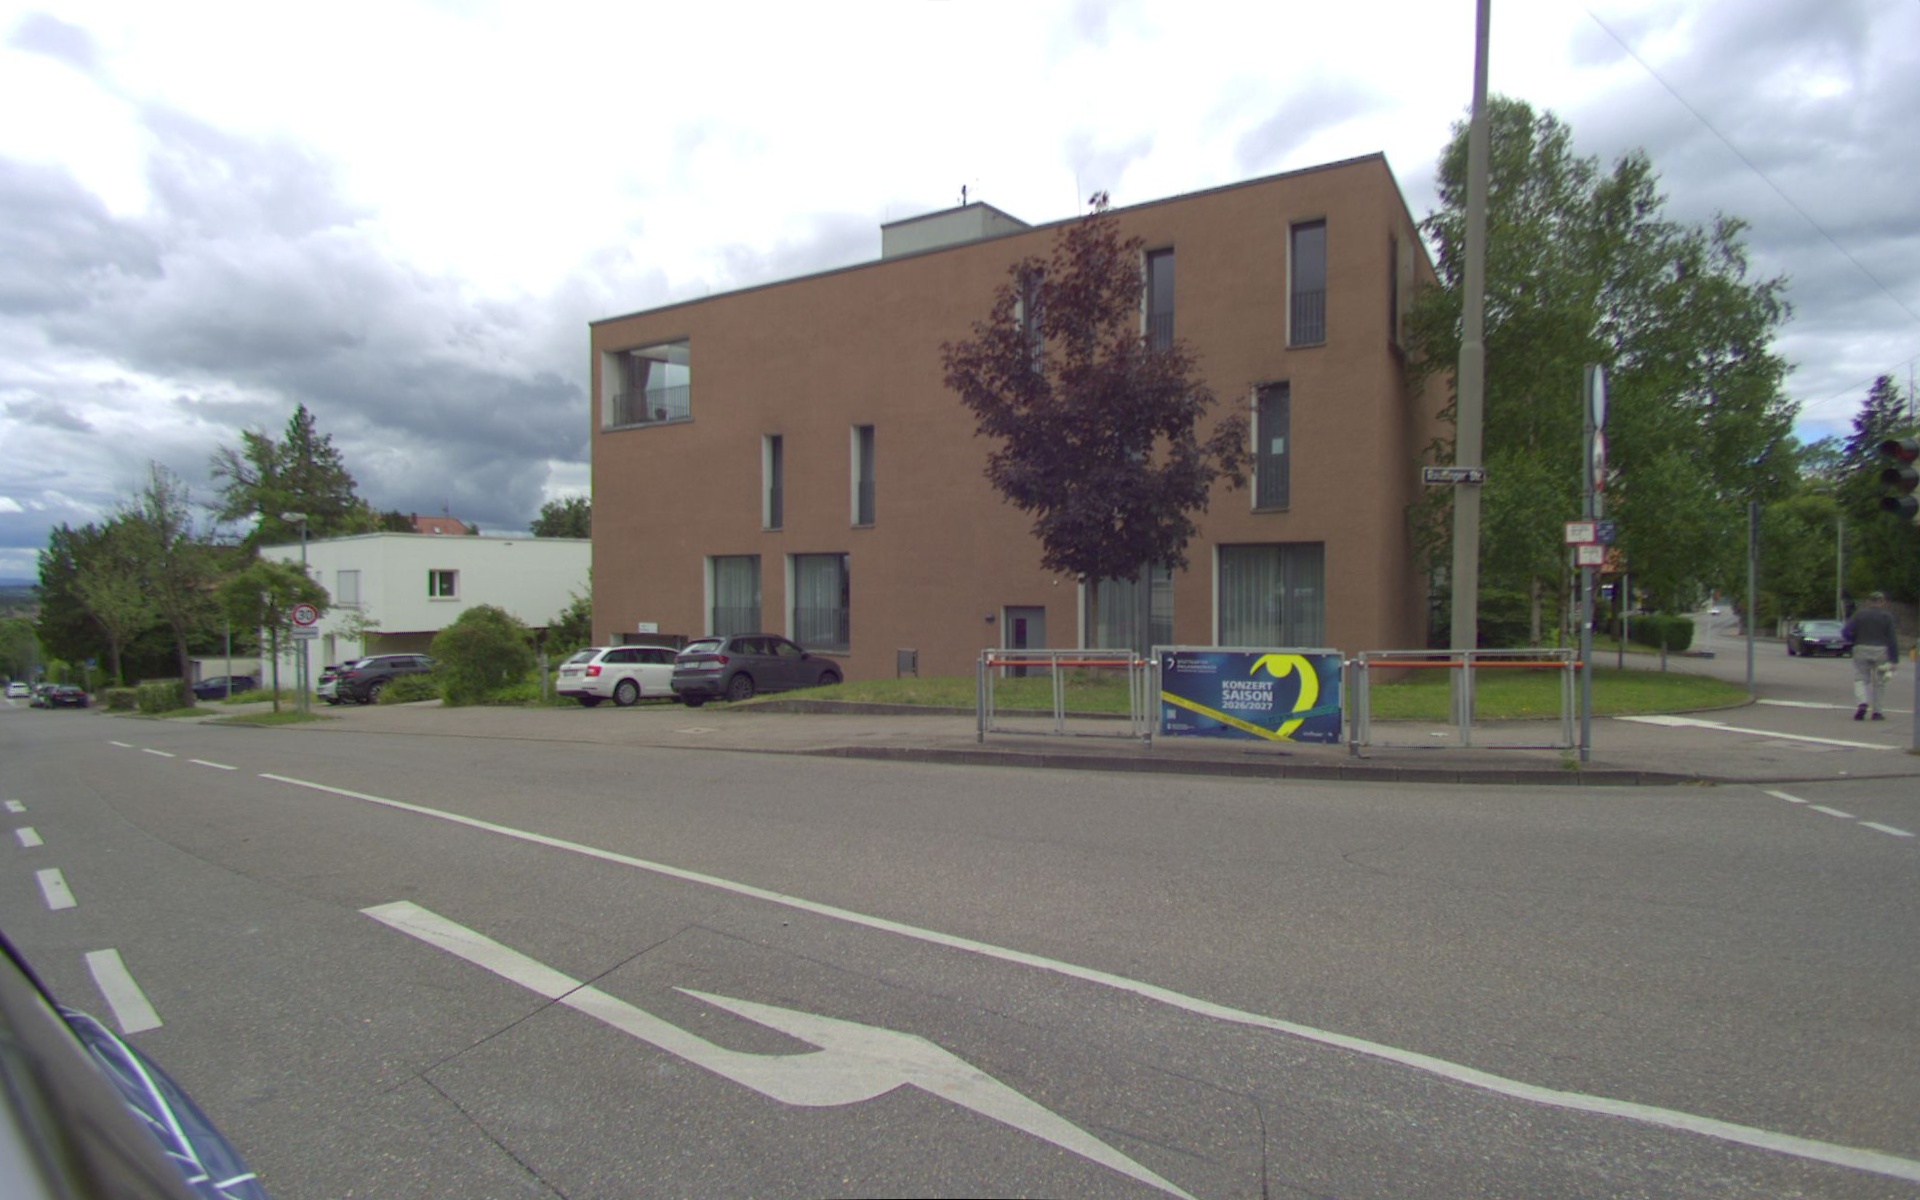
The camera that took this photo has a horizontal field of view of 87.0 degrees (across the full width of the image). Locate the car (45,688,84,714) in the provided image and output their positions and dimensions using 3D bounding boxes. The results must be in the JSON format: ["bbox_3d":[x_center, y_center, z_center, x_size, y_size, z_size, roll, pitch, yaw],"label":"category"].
[{"bbox_3d":[-54.939,6.162,62.068,1.638,1.432,4.003,0,-4,-44],"label":"car"}]

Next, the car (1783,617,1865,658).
[{"bbox_3d":[34.449,1.461,40.457,1.825,1.547,3.957,-1,-2,31],"label":"car"}]

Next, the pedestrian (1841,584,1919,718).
[{"bbox_3d":[11.734,0.640,12.897,0.683,1.646,0.730,-3,-3,42],"label":"pedestrian"}]

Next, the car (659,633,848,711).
[{"bbox_3d":[-4.499,1.566,22.517,1.724,1.497,3.950,-5,-4,37],"label":"car"}]

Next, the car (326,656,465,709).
[{"bbox_3d":[-19.979,2.895,35.934,1.793,1.608,3.943,-6,-4,43],"label":"car"}]

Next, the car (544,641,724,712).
[{"bbox_3d":[-8.001,1.865,25.121,1.724,1.497,3.950,-5,-4,37],"label":"car"}]

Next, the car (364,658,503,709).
[{"bbox_3d":[-18.236,2.874,35.148,1.727,1.497,3.943,-6,-4,43],"label":"car"}]

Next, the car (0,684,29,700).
[{"bbox_3d":[-95.912,9.286,102.352,4.362,1.432,1.861,-3,-3,38],"label":"car"}]

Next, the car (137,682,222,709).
[{"bbox_3d":[-46.976,5.731,60.933,3.939,1.296,1.665,0,-4,-43],"label":"car"}]

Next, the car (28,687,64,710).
[{"bbox_3d":[-61.562,6.620,68.146,1.638,1.432,4.371,0,-4,-44],"label":"car"}]
